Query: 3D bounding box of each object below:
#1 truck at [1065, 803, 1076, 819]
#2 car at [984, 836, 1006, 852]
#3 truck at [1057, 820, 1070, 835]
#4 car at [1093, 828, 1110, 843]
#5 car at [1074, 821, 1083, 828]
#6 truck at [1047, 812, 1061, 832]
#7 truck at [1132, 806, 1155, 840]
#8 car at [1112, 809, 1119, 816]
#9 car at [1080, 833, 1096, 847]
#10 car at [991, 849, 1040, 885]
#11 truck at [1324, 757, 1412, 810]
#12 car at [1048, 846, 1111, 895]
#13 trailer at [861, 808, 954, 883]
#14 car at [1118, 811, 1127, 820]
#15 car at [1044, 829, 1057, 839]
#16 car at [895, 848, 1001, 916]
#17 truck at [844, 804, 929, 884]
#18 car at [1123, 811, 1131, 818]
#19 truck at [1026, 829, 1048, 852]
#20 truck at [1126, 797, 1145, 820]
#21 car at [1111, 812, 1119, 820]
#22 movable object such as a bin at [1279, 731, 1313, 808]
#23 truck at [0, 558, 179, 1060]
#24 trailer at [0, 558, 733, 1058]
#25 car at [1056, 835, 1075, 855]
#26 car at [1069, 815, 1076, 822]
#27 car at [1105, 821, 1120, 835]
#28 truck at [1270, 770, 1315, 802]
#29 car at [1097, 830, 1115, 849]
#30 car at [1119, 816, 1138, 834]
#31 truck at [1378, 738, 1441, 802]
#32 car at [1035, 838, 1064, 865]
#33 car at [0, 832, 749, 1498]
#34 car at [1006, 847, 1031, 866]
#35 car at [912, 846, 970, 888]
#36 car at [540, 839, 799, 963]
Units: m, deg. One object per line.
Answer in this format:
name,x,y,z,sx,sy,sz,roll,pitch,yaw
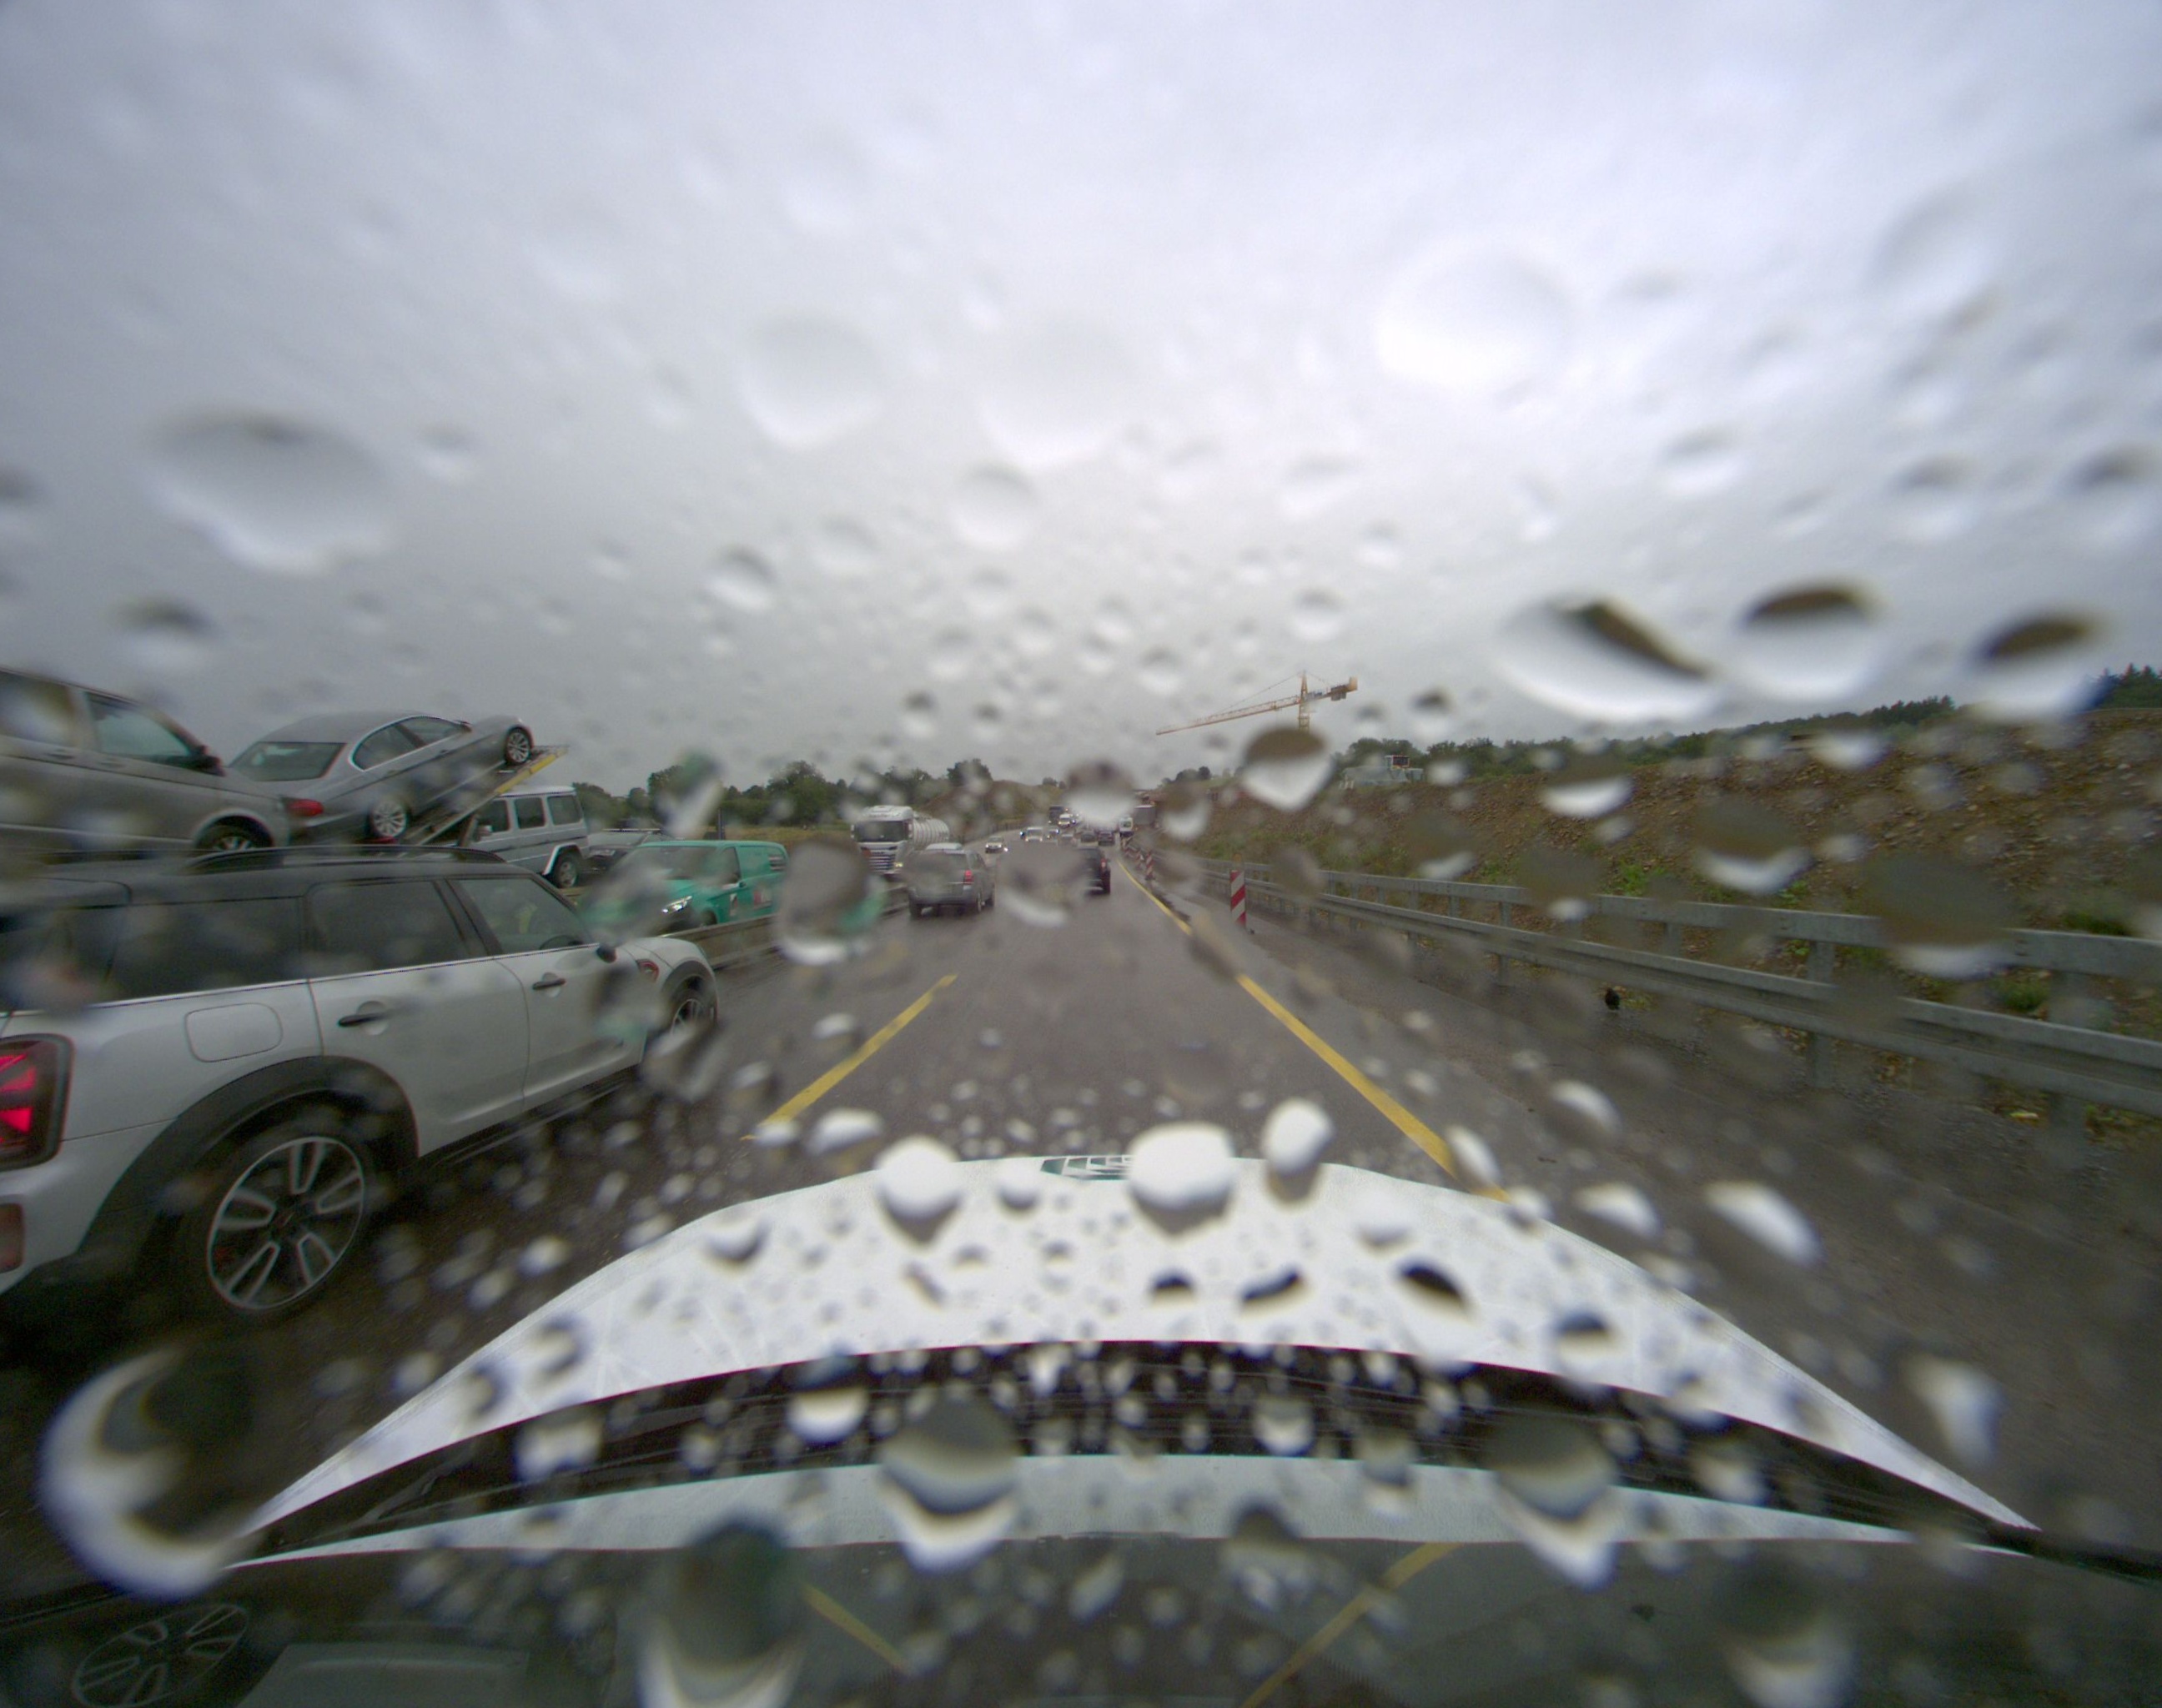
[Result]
truck,-3.349,-13.502,258.527,3.071,4.918,8.570,0,2,2
car,-8.863,-1.069,83.839,1.782,1.546,4.001,-1,1,0
truck,-3.193,-4.866,151.735,2.140,2.713,6.017,-1,2,0
car,2.993,-2.699,119.618,1.982,2.163,4.150,-1,0,8
car,-0.428,-6.229,172.289,1.863,1.471,4.671,-1,2,0
truck,-5.462,-6.544,165.732,2.633,3.969,9.214,-1,3,0
truck,10.554,-5.111,137.677,3.083,5.425,9.466,-1,0,9
car,10.515,-12.679,247.860,1.987,2.013,4.000,-1,0,0
car,0.959,-1.781,107.563,1.986,1.761,3.816,-1,0,2
car,-3.071,0.602,39.045,1.987,1.600,4.139,-1,0,0
truck,19.837,-4.796,56.939,3.382,2.875,8.966,-1,0,3
car,0.020,0.535,29.067,2.073,1.600,4.142,-1,0,2
trailer,-9.626,-0.464,46.668,2.611,3.677,12.004,-1,0,0
car,9.551,-8.819,187.616,1.987,2.013,4.001,-2,2,1
car,-4.807,-3.164,128.861,1.671,1.523,4.346,-1,2,1
car,-3.396,0.655,21.638,1.986,1.600,4.142,-1,0,2
truck,-9.650,-0.472,41.204,2.612,3.677,6.595,-1,0,0
car,13.245,-11.306,232.815,1.987,2.013,4.000,-1,0,0
truck,-4.981,-1.518,93.593,2.071,2.576,5.962,-1,0,1
truck,13.243,-11.027,198.696,3.791,5.042,12.921,-1,0,0
car,8.771,-9.840,209.669,1.987,2.013,4.001,-2,2,1
movable object such as a bin,33.475,-12.812,126.545,4.683,10.841,10.346,-1,0,15
truck,-10.153,-0.340,4.774,2.739,4.062,6.149,-1,0,1
trailer,-9.986,-0.377,12.065,2.739,4.042,15.362,-1,0,1
car,-1.714,-0.955,88.103,1.988,2.163,4.137,-1,0,-2
car,-2.078,-8.807,200.583,1.731,1.684,5.554,0,3,1
car,5.182,-4.205,132.901,1.981,2.163,4.152,-1,0,10
truck,20.487,-6.548,79.365,2.636,2.554,6.984,-1,0,0
car,3.005,-1.728,97.582,1.986,2.163,4.142,-1,0,2
car,6.960,-4.222,119.602,1.980,2.484,4.999,-1,0,12
truck,24.583,-6.212,61.216,2.365,4.218,5.979,-1,0,0
car,-2.426,-0.220,63.672,1.987,2.013,3.893,-1,0,0
car,-3.488,0.733,4.059,1.810,1.600,4.308,-1,1,1
car,-5.585,0.204,73.243,1.766,1.504,4.679,-1,1,0
car,-6.333,0.544,37.189,1.859,1.800,4.163,-1,0,0
car,-6.746,0.673,14.077,1.986,1.759,4.688,-1,0,1
